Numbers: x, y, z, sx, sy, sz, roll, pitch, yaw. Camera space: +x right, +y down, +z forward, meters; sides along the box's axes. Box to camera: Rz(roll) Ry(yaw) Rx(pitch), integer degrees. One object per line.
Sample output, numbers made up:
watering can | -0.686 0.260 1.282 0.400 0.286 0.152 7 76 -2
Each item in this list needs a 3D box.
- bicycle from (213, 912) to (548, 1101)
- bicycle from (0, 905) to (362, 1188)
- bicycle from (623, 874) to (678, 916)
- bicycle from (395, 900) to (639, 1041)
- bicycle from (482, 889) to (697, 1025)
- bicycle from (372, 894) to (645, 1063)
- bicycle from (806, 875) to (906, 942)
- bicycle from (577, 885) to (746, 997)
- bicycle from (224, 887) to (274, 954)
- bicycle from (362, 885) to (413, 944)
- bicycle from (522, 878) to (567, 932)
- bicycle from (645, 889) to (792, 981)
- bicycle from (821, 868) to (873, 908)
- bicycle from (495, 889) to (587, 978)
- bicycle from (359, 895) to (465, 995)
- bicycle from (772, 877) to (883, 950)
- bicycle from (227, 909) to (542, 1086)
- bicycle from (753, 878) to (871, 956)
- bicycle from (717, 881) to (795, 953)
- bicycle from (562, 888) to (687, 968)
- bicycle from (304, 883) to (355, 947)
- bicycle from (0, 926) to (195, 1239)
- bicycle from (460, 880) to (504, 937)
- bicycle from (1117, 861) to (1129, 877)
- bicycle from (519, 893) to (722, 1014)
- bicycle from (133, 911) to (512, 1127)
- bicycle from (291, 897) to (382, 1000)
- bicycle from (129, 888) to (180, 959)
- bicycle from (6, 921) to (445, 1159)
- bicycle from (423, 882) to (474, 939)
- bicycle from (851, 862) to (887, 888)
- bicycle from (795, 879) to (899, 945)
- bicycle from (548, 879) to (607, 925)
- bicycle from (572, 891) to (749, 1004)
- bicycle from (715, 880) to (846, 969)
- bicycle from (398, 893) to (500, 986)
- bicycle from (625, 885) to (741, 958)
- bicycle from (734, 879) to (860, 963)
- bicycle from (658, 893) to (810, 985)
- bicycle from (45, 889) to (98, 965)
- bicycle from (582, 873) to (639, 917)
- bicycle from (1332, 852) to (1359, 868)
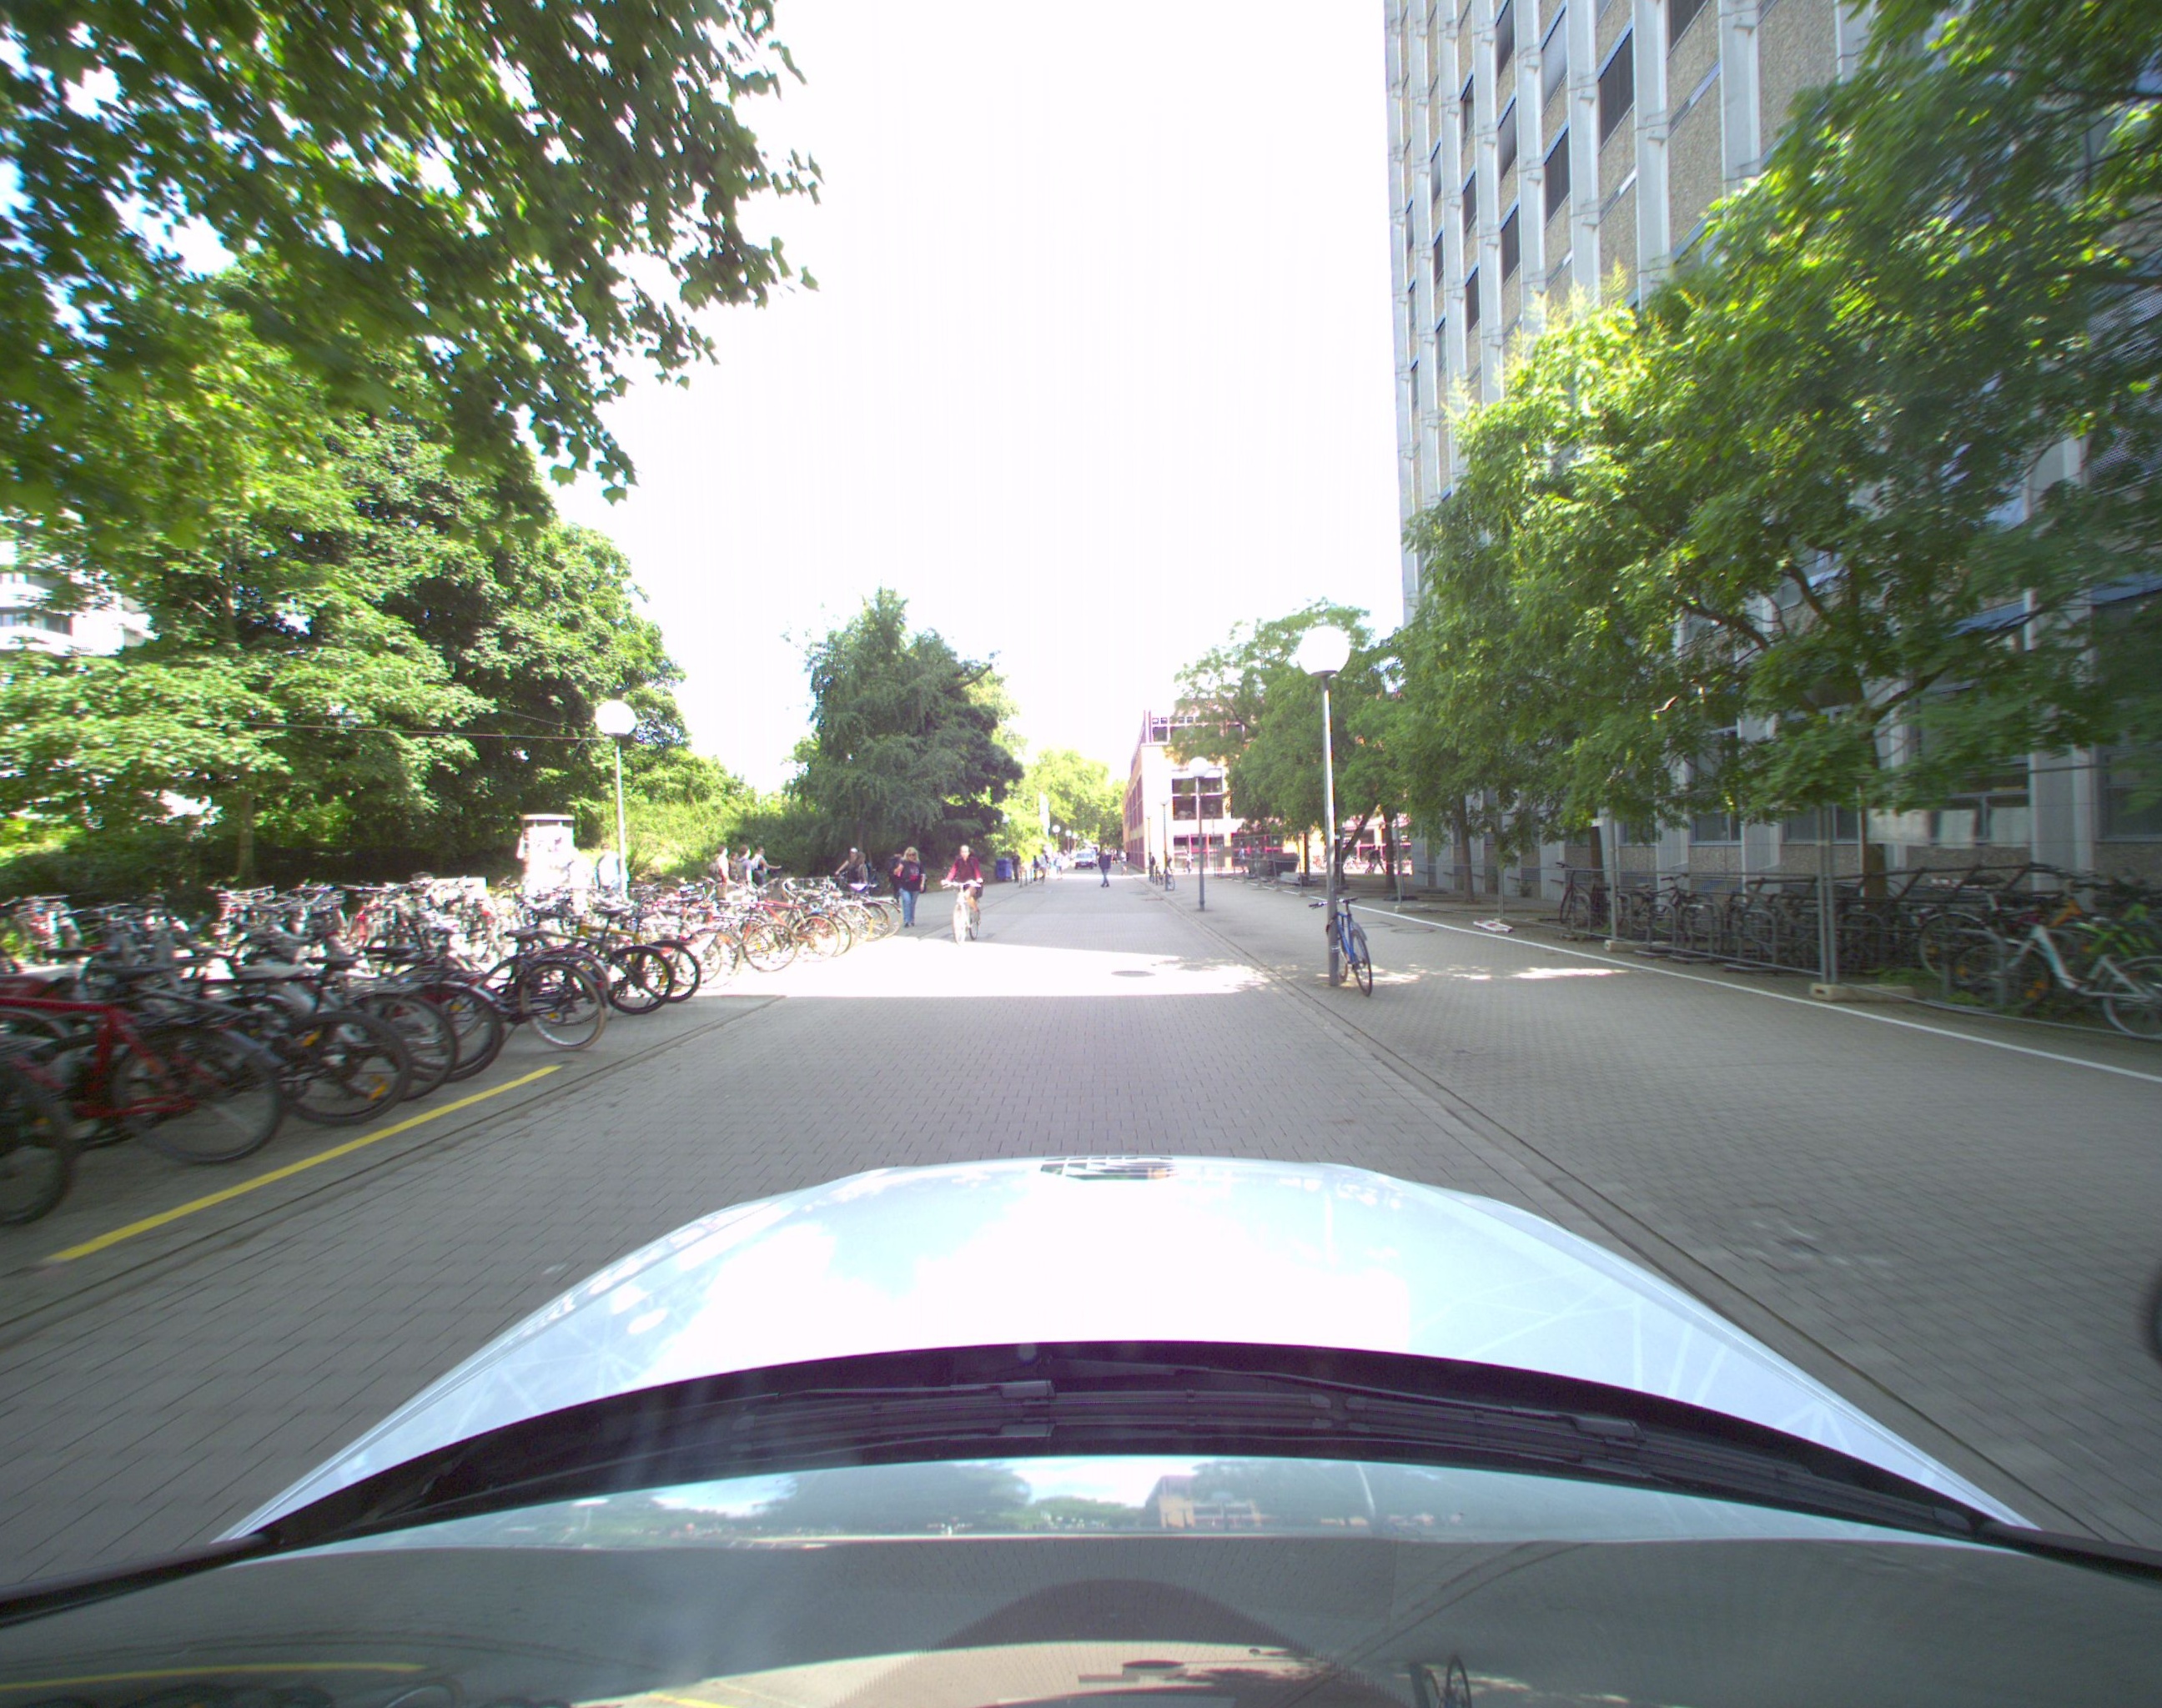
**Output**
bicycle | -4.673 0.989 5.526 1.694 1.108 0.472 -1 0 -11
bicycle | -4.684 0.902 4.004 1.733 1.236 0.496 -1 0 -7
bicycle | -11.824 1.120 22.357 1.755 1.110 0.477 -1 -1 30
bicycle | -4.970 1.001 7.272 1.694 1.108 0.564 -1 0 -10
bicycle | -4.669 0.957 7.821 1.694 1.187 0.472 -1 0 -10
bicycle | -4.462 0.943 6.436 1.692 1.198 0.535 -1 0 -8
bicycle | -4.094 0.986 14.923 1.693 1.159 0.473 -1 0 -8
bicycle | -4.848 0.977 9.496 1.703 1.157 0.470 -1 0 -26
bicycle | -14.984 1.166 14.656 1.755 1.110 0.477 -1 -1 40
bicycle | -14.005 1.188 16.429 1.755 1.110 0.477 -1 -1 40
bicycle | -11.871 1.098 17.998 1.756 1.110 0.477 -1 -1 45
bicycle | -4.743 1.028 10.699 1.706 1.062 0.469 -1 0 -34
bicycle | -6.921 0.989 24.153 0.468 1.110 1.854 -1 0 19
bicycle | -7.281 1.037 10.960 1.677 1.083 0.477 -1 -1 36
bicycle | -8.050 1.056 9.784 1.677 1.083 0.477 -1 -1 32
bicycle | -4.243 0.987 13.693 1.691 1.168 0.473 -1 0 -5
bicycle | -4.922 0.985 5.841 1.694 1.108 0.472 -1 0 -10
bicycle | -4.241 0.976 12.841 1.763 1.168 0.476 -1 0 14
bicycle | -5.469 1.029 13.792 0.504 1.083 1.702 -1 0 5
bicycle | -6.507 1.035 11.615 1.682 1.083 0.476 -1 0 14
bicycle | -14.258 1.124 15.430 1.755 1.110 0.477 -1 -1 40
bicycle | -4.892 0.932 3.445 1.729 1.178 0.497 -1 0 0
bicycle | -12.747 1.132 17.310 1.756 1.110 0.477 -1 -1 45
bicycle | 3.000 1.058 58.406 0.586 1.083 1.904 -1 0 -5
bicycle | -4.664 0.990 8.349 1.694 1.108 0.580 -1 0 -10
bicycle | -4.573 0.960 5.007 1.694 1.145 0.472 -1 0 -11
bicycle | -8.848 1.079 9.660 1.677 1.083 0.477 -1 -1 37
bicycle | -15.937 1.169 13.996 1.755 1.110 0.520 -1 -1 40
bicycle | -4.603 0.966 4.482 1.694 1.108 0.495 -1 0 -10
bicycle | -13.180 1.157 16.953 1.755 1.110 0.477 -1 -1 40
bicycle | -8.820 0.870 33.938 0.468 1.047 1.709 1 0 23
bicycle | -4.130 1.018 14.453 1.691 1.091 0.473 -1 0 -5
bicycle | -12.770 1.194 20.632 1.755 1.110 0.477 -1 -1 30
bicycle | -4.644 0.999 9.081 1.703 1.108 0.470 -1 0 -26
bicycle | -4.244 0.975 11.588 1.697 1.168 0.471 -1 0 -16
bicycle | -8.087 1.054 10.396 1.677 1.083 0.477 -1 -1 32
bicycle | -6.191 1.042 12.684 1.682 1.083 0.476 -1 0 13
bicycle | -4.202 0.979 12.130 1.695 1.168 0.472 -1 0 -12
bicycle | -4.380 1.044 10.342 1.706 1.018 0.469 -1 0 -34
bicycle | -16.371 1.153 13.226 1.755 1.110 0.520 -1 -1 40
bicycle | -12.404 1.067 21.443 1.755 1.110 0.477 -1 -1 30
bicycle | 18.608 0.433 57.262 1.803 1.110 0.473 0 0 -5
